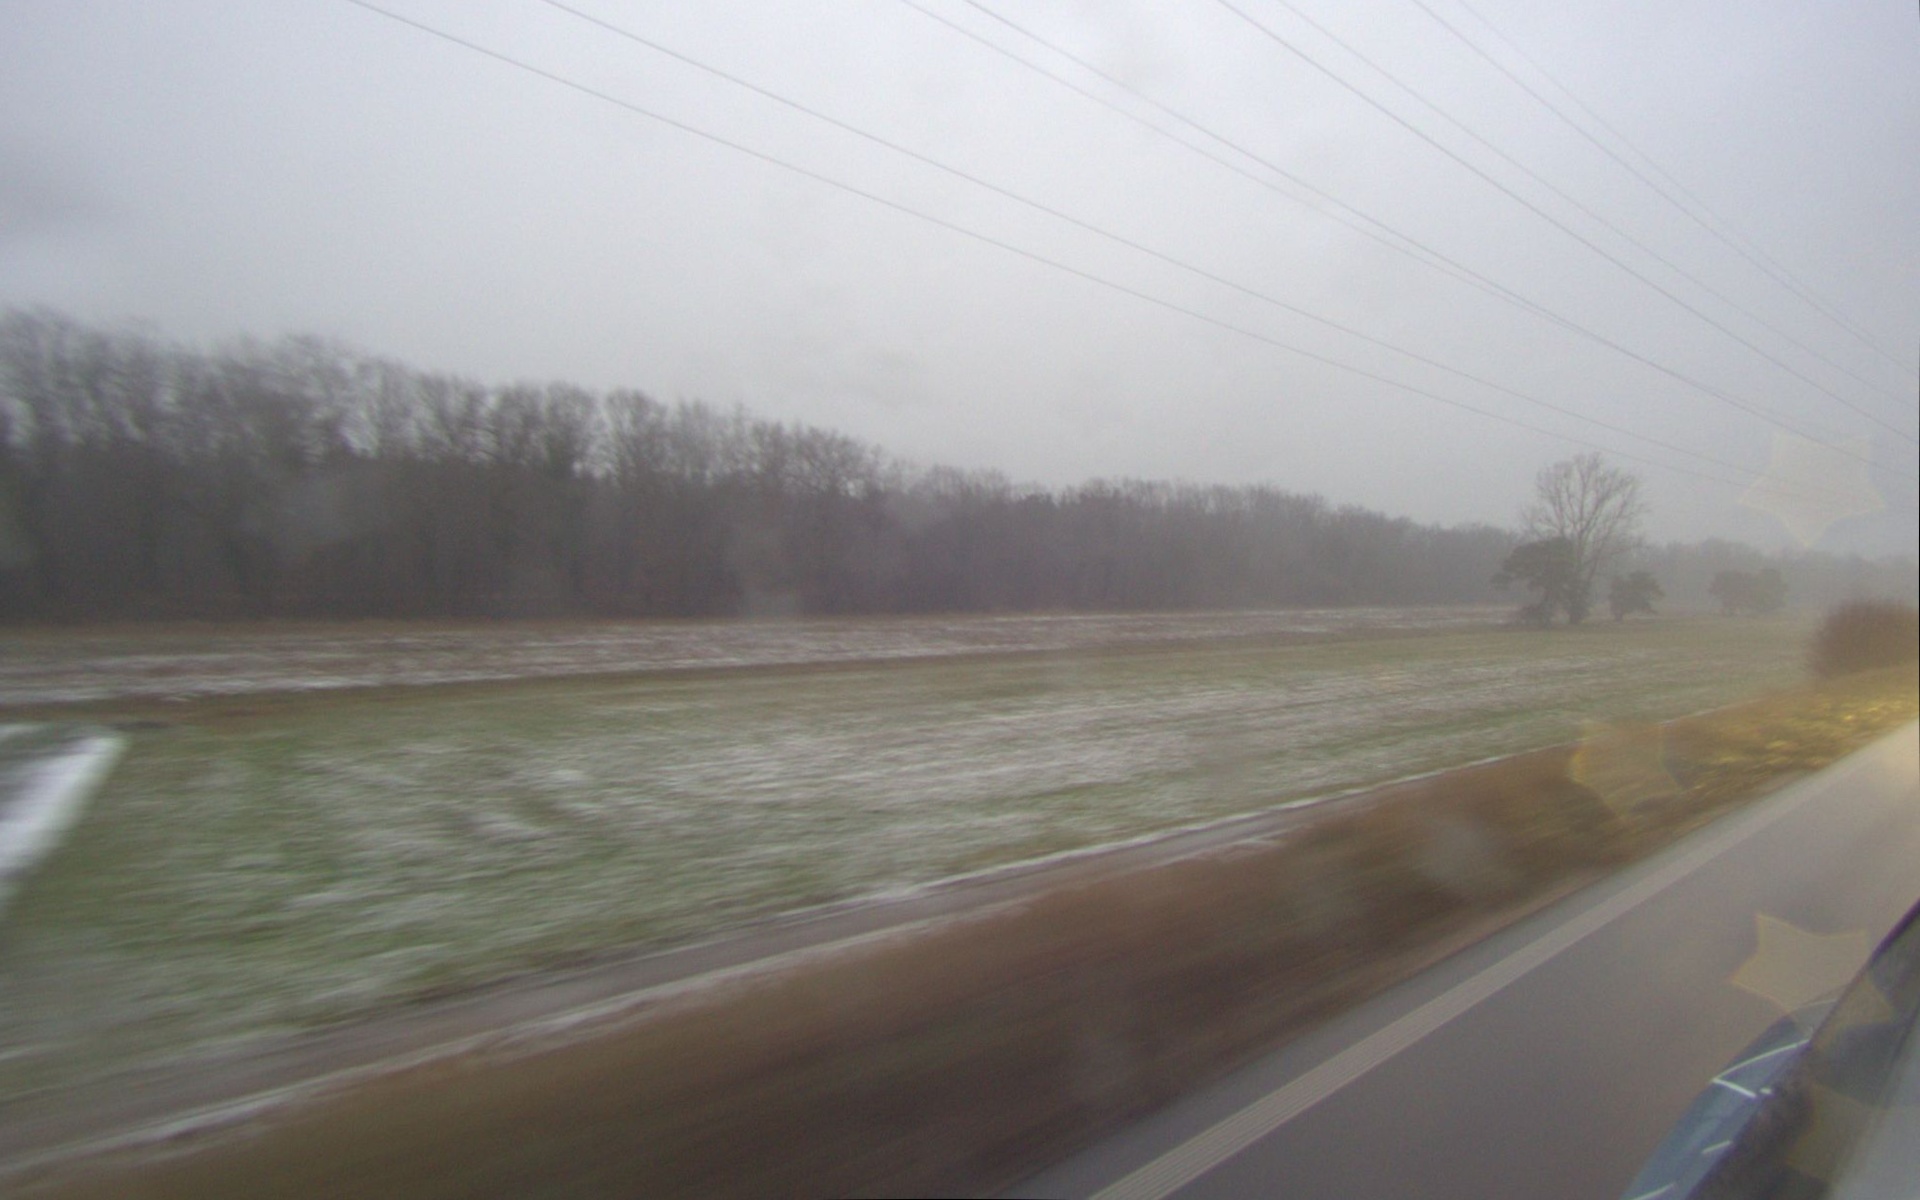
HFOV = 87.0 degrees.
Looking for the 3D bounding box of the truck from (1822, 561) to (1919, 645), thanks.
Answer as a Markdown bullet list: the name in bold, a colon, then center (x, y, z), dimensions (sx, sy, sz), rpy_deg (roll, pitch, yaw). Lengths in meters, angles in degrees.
- **truck**: center (33.079, 0.063, 35.706), dimensions (10.616, 2.604, 2.508), rpy_deg (0, 0, -41)
